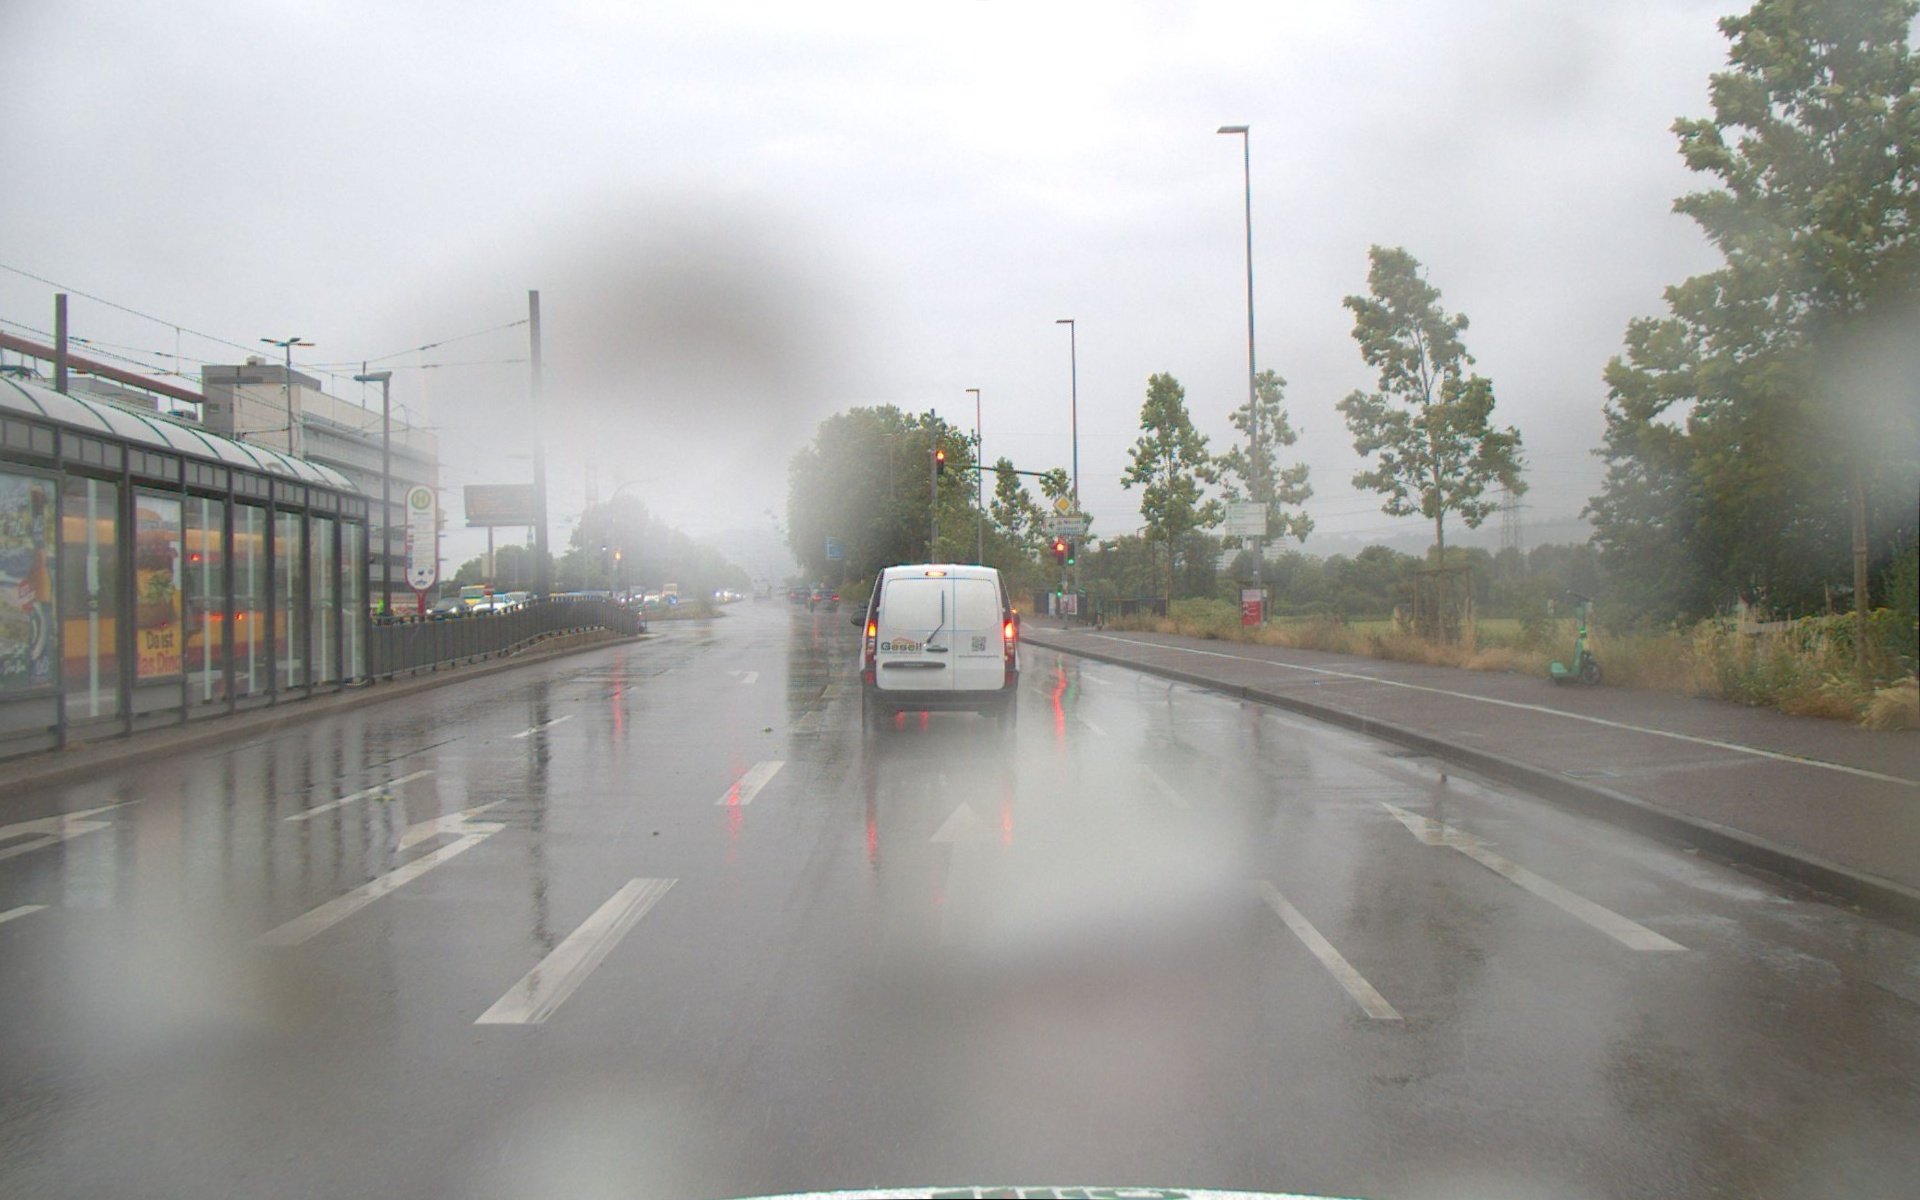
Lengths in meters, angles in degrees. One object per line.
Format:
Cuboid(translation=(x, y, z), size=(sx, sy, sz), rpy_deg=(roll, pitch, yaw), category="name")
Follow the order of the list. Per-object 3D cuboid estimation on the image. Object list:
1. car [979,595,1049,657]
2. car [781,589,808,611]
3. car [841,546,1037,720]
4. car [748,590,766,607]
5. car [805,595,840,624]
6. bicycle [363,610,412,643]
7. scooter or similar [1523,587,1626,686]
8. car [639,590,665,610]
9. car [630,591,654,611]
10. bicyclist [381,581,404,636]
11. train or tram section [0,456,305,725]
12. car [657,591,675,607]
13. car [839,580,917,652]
Cuboid(translation=(1.608, 0.748, 50.282), size=(1.953, 1.780, 4.000), rpy_deg=(1, 0, 0), category="car")
Cuboid(translation=(-13.382, -0.012, 133.895), size=(1.956, 1.780, 3.992), rpy_deg=(1, 0, -9), category="car")
Cuboid(translation=(-0.365, 0.343, 19.477), size=(1.985, 1.806, 4.270), rpy_deg=(1, 0, -5), category="car")
Cuboid(translation=(-22.641, -0.164, 184.494), size=(1.956, 1.780, 3.992), rpy_deg=(1, 0, -9), category="car")
Cuboid(translation=(-8.908, 0.582, 106.771), size=(1.956, 1.780, 3.992), rpy_deg=(1, 0, -9), category="car")
Cuboid(translation=(-21.229, 0.982, 61.321), size=(1.624, 1.210, 0.594), rpy_deg=(-1, -1, -9), category="bicycle")
Cuboid(translation=(7.980, 0.453, 21.538), size=(0.630, 1.216, 1.561), rpy_deg=(-1, 0, -5), category="scooter or similar")
Cuboid(translation=(-32.103, 0.035, 172.670), size=(1.953, 2.049, 4.000), rpy_deg=(1, 0, 0), category="car")
Cuboid(translation=(-34.598, 0.102, 180.098), size=(1.953, 2.049, 3.999), rpy_deg=(1, 0, -1), category="car")
Cuboid(translation=(-21.060, 0.316, 61.361), size=(0.682, 2.049, 0.550), rpy_deg=(1, 0, -10), category="bicyclist")
Cuboid(translation=(-16.576, -0.170, 26.060), size=(3.696, 4.107, 27.068), rpy_deg=(1, 0, -4), category="train or tram section")
Cuboid(translation=(-38.776, -0.166, 218.426), size=(1.954, 2.049, 3.996), rpy_deg=(1, 0, -4), category="car")
Cuboid(translation=(-2.158, 0.402, 43.586), size=(1.954, 1.780, 3.998), rpy_deg=(1, 0, -3), category="car")
